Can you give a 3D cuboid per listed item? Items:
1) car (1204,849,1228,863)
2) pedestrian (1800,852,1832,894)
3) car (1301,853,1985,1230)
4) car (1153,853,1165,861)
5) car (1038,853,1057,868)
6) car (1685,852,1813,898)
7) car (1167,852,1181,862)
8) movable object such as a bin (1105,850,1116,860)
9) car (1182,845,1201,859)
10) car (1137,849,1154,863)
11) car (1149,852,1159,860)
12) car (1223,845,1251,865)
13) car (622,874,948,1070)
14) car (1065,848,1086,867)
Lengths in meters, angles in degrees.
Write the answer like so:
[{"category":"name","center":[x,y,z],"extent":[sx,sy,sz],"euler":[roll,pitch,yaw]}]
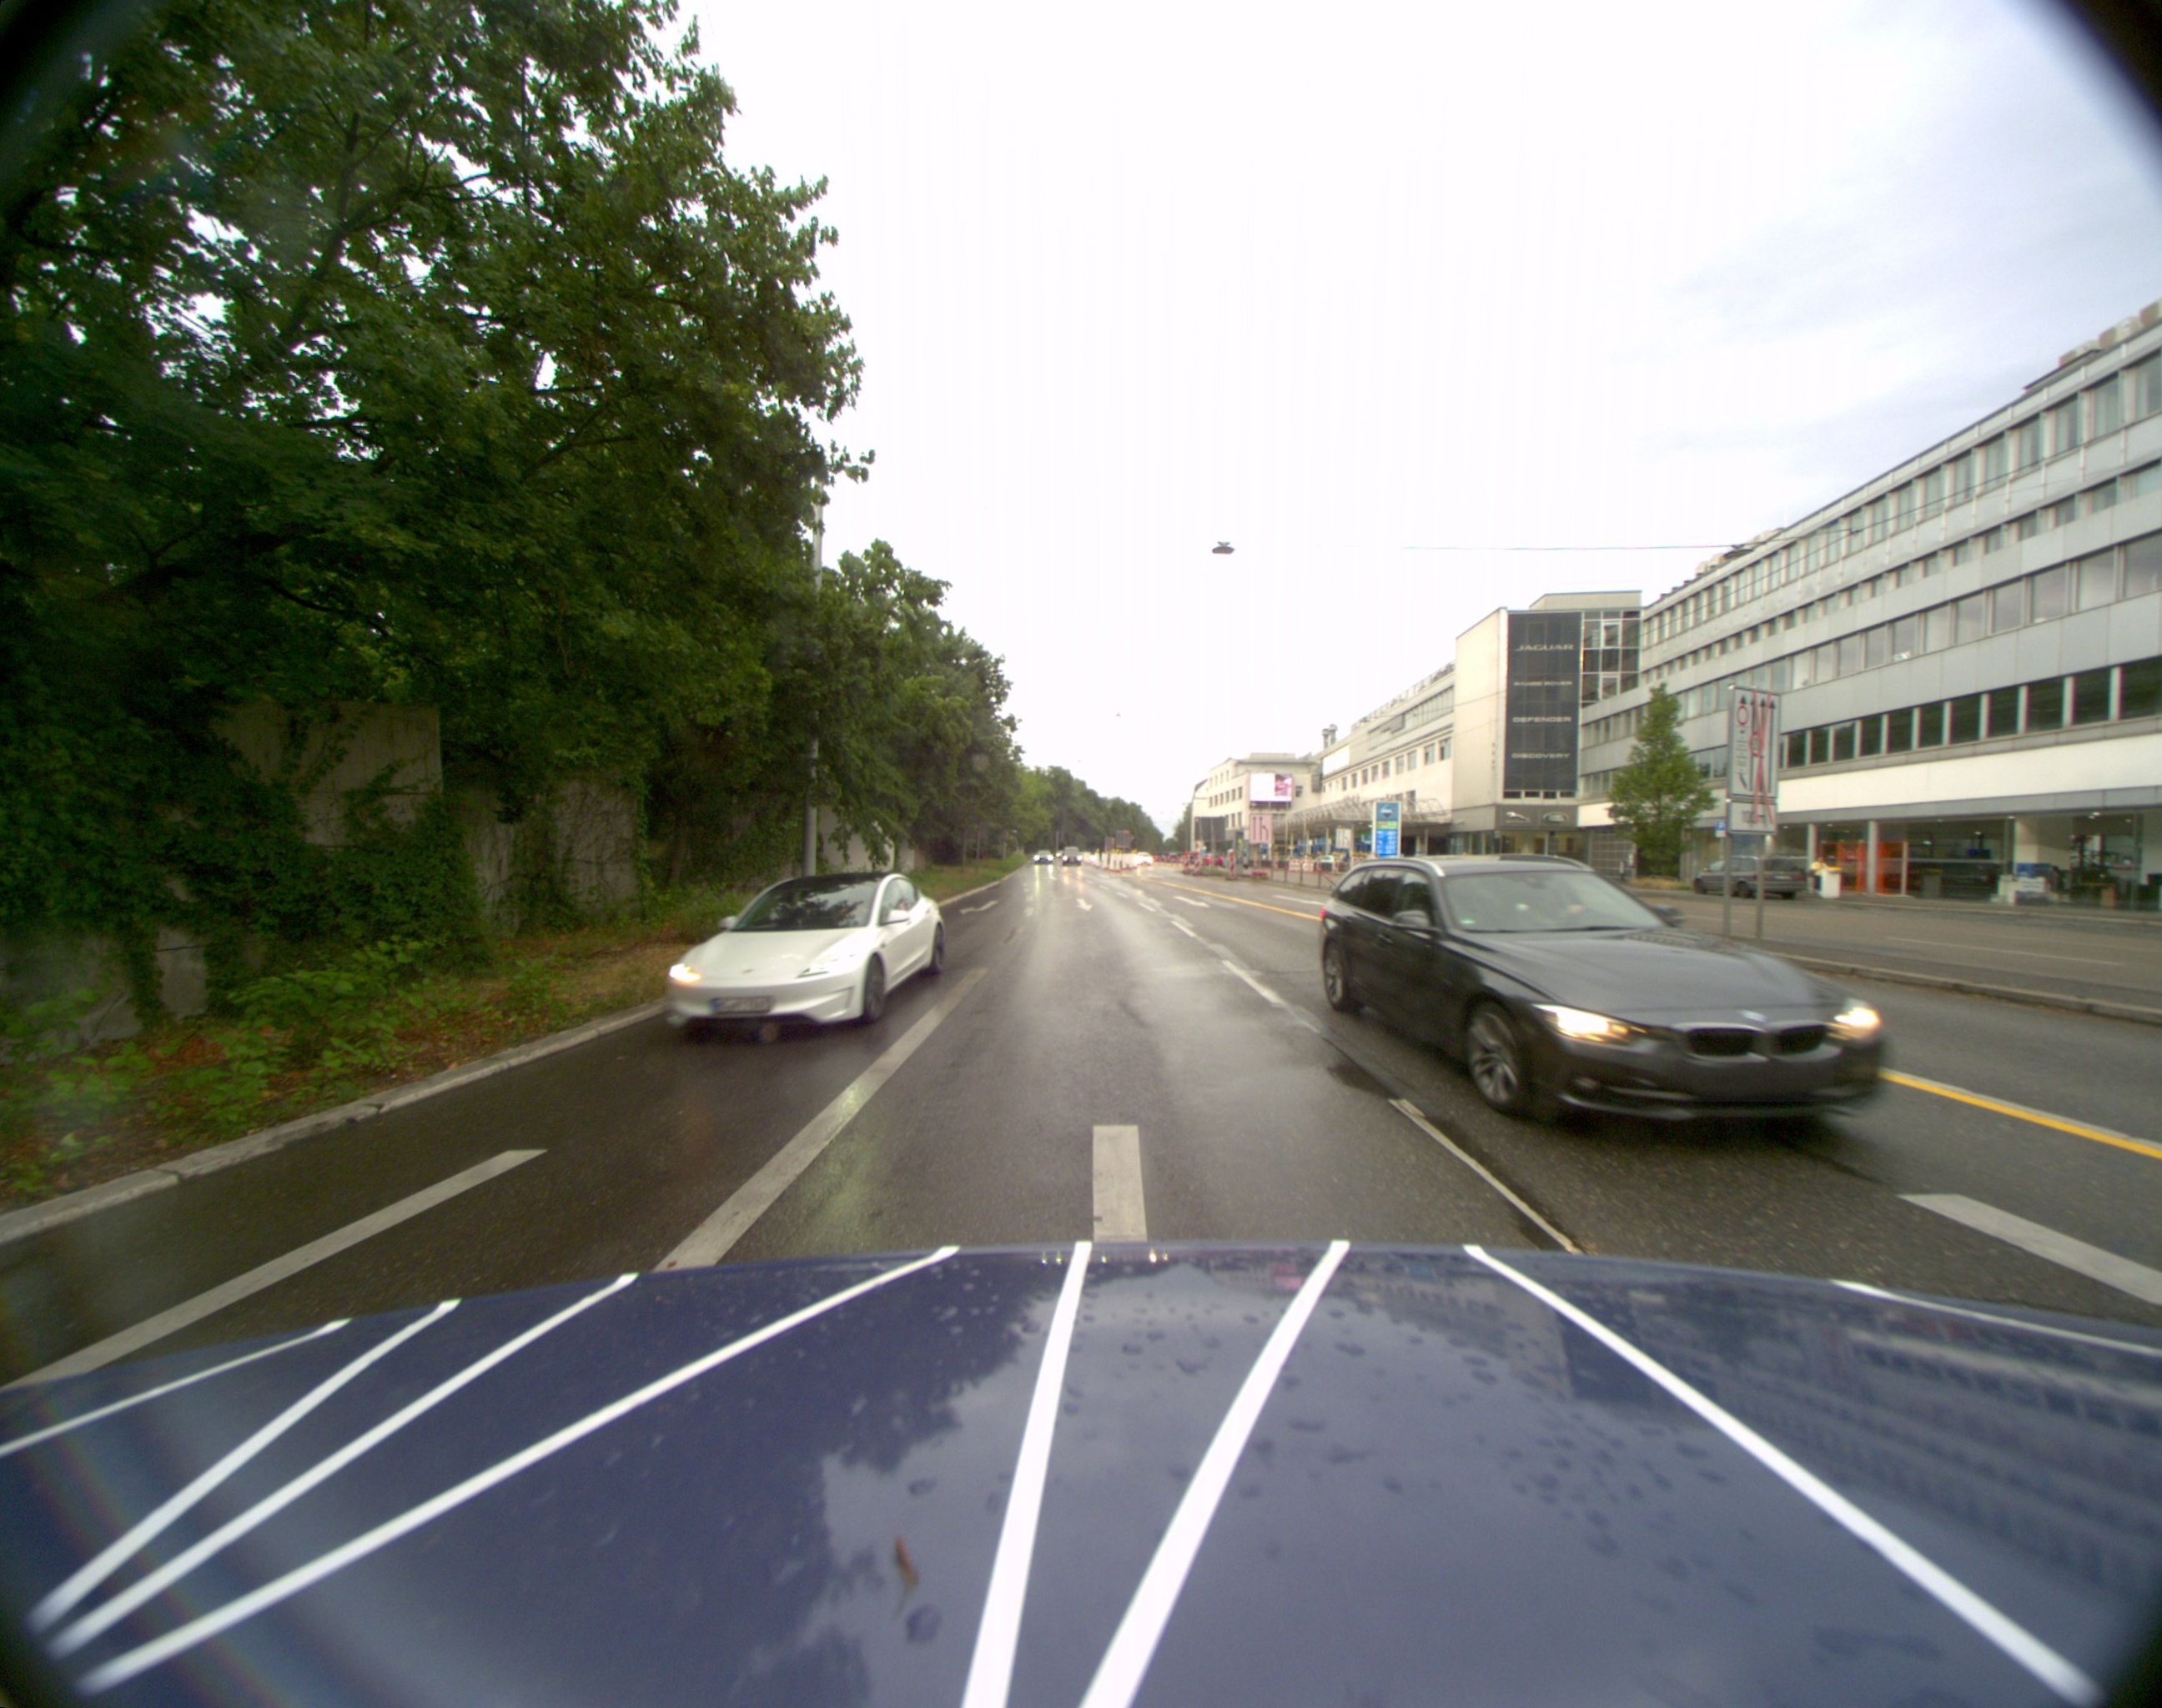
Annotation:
[{"category":"car","center":[14.814,0.184,83.586],"extent":[1.834,1.493,4.372],"euler":[2,1,-1]},{"category":"pedestrian","center":[30.830,0.774,31.885],"extent":[0.719,1.722,0.538],"euler":[2,1,14]},{"category":"car","center":[3.122,0.838,5.465],"extent":[1.764,1.442,4.176],"euler":[-4,2,0]},{"category":"car","center":[17.908,0.659,174.563],"extent":[1.985,1.697,4.830],"euler":[1,1,-2]},{"category":"car","center":[-3.543,0.638,81.050],"extent":[1.742,1.477,3.917],"euler":[-2,1,1]},{"category":"car","center":[28.394,0.828,32.543],"extent":[1.851,1.769,4.733],"euler":[2,1,10]},{"category":"car","center":[15.197,0.464,123.710],"extent":[1.812,1.549,4.300],"euler":[1,1,1]},{"category":"movable object such as a bin","center":[6.533,0.165,165.776],"extent":[1.997,2.099,3.852],"euler":[2,0,7]},{"category":"car","center":[14.662,-0.245,100.698],"extent":[1.850,1.727,4.603],"euler":[1,1,0]},{"category":"car","center":[7.398,0.170,87.068],"extent":[1.649,1.477,4.000],"euler":[2,1,1]},{"category":"car","center":[14.285,0.422,149.671],"extent":[1.693,1.346,4.115],"euler":[2,1,2]},{"category":"car","center":[14.621,0.044,71.536],"extent":[1.738,1.775,4.301],"euler":[2,1,0]},{"category":"car","center":[-2.862,1.052,8.520],"extent":[1.839,1.424,4.272],"euler":[-2,1,1]},{"category":"car","center":[-0.535,0.337,75.831],"extent":[1.998,1.740,4.000],"euler":[2,1,1]}]
